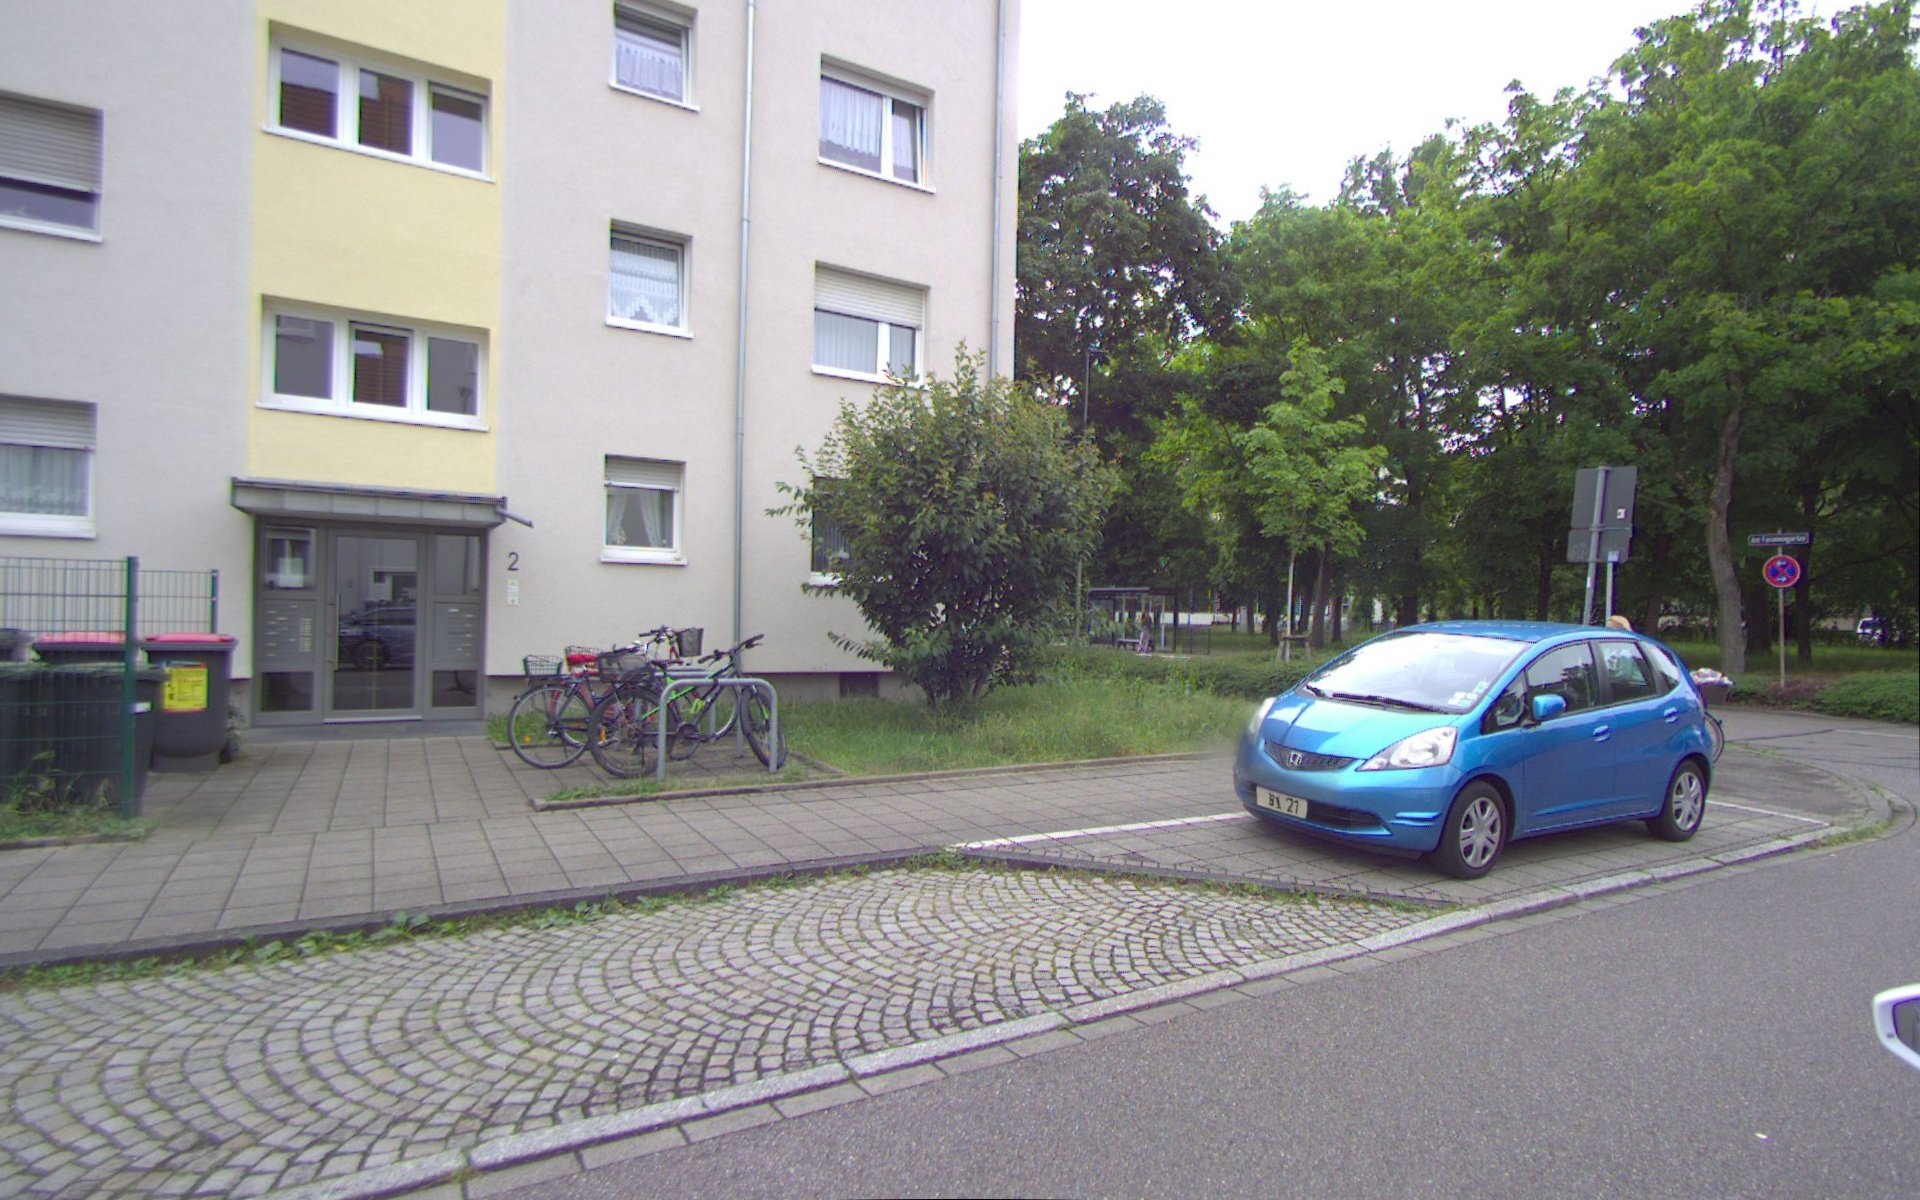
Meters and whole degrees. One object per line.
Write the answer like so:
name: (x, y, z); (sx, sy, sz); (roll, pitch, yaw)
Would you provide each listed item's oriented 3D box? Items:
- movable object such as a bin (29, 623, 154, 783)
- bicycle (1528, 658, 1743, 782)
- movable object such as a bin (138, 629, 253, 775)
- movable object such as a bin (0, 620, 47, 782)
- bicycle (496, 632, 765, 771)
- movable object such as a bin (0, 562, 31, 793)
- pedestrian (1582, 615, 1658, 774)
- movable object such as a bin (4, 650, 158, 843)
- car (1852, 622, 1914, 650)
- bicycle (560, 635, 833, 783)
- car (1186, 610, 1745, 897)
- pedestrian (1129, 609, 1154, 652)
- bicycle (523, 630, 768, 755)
movable object such as a bin: (-6.646, 0.751, 7.721); (0.591, 1.131, 0.837); (1, 0, -33)
bicycle: (6.988, 1.213, 10.493); (1.784, 1.134, 0.537); (1, 0, 25)
movable object such as a bin: (-6.070, 0.778, 8.016); (0.627, 1.065, 0.859); (1, 0, -32)
movable object such as a bin: (-7.196, 0.723, 7.362); (0.591, 1.131, 0.837); (1, 0, -33)
bicycle: (-2.855, 0.831, 8.798); (2.149, 1.085, 0.654); (1, 0, -30)
movable object such as a bin: (-6.583, 0.471, 5.672); (1.652, 1.440, 1.581); (1, 0, -31)
pedestrian: (6.787, 0.948, 10.347); (0.557, 1.570, 0.448); (1, 0, 23)
movable object such as a bin: (-5.190, 0.832, 5.966); (0.591, 1.047, 0.534); (1, 0, -32)
car: (55.816, 2.172, 60.730); (3.959, 1.639, 1.906); (2, -1, -34)
bicycle: (-2.152, 0.846, 8.333); (2.097, 1.082, 0.654); (1, 0, -30)
car: (3.697, 0.886, 7.213); (3.911, 1.482, 1.721); (1, 2, -31)
pedestrian: (6.969, 1.157, 38.486); (0.648, 1.604, 0.693); (0, 0, -28)
bicycle: (-2.994, 0.841, 9.665); (2.149, 1.085, 0.654); (1, 0, -30)
